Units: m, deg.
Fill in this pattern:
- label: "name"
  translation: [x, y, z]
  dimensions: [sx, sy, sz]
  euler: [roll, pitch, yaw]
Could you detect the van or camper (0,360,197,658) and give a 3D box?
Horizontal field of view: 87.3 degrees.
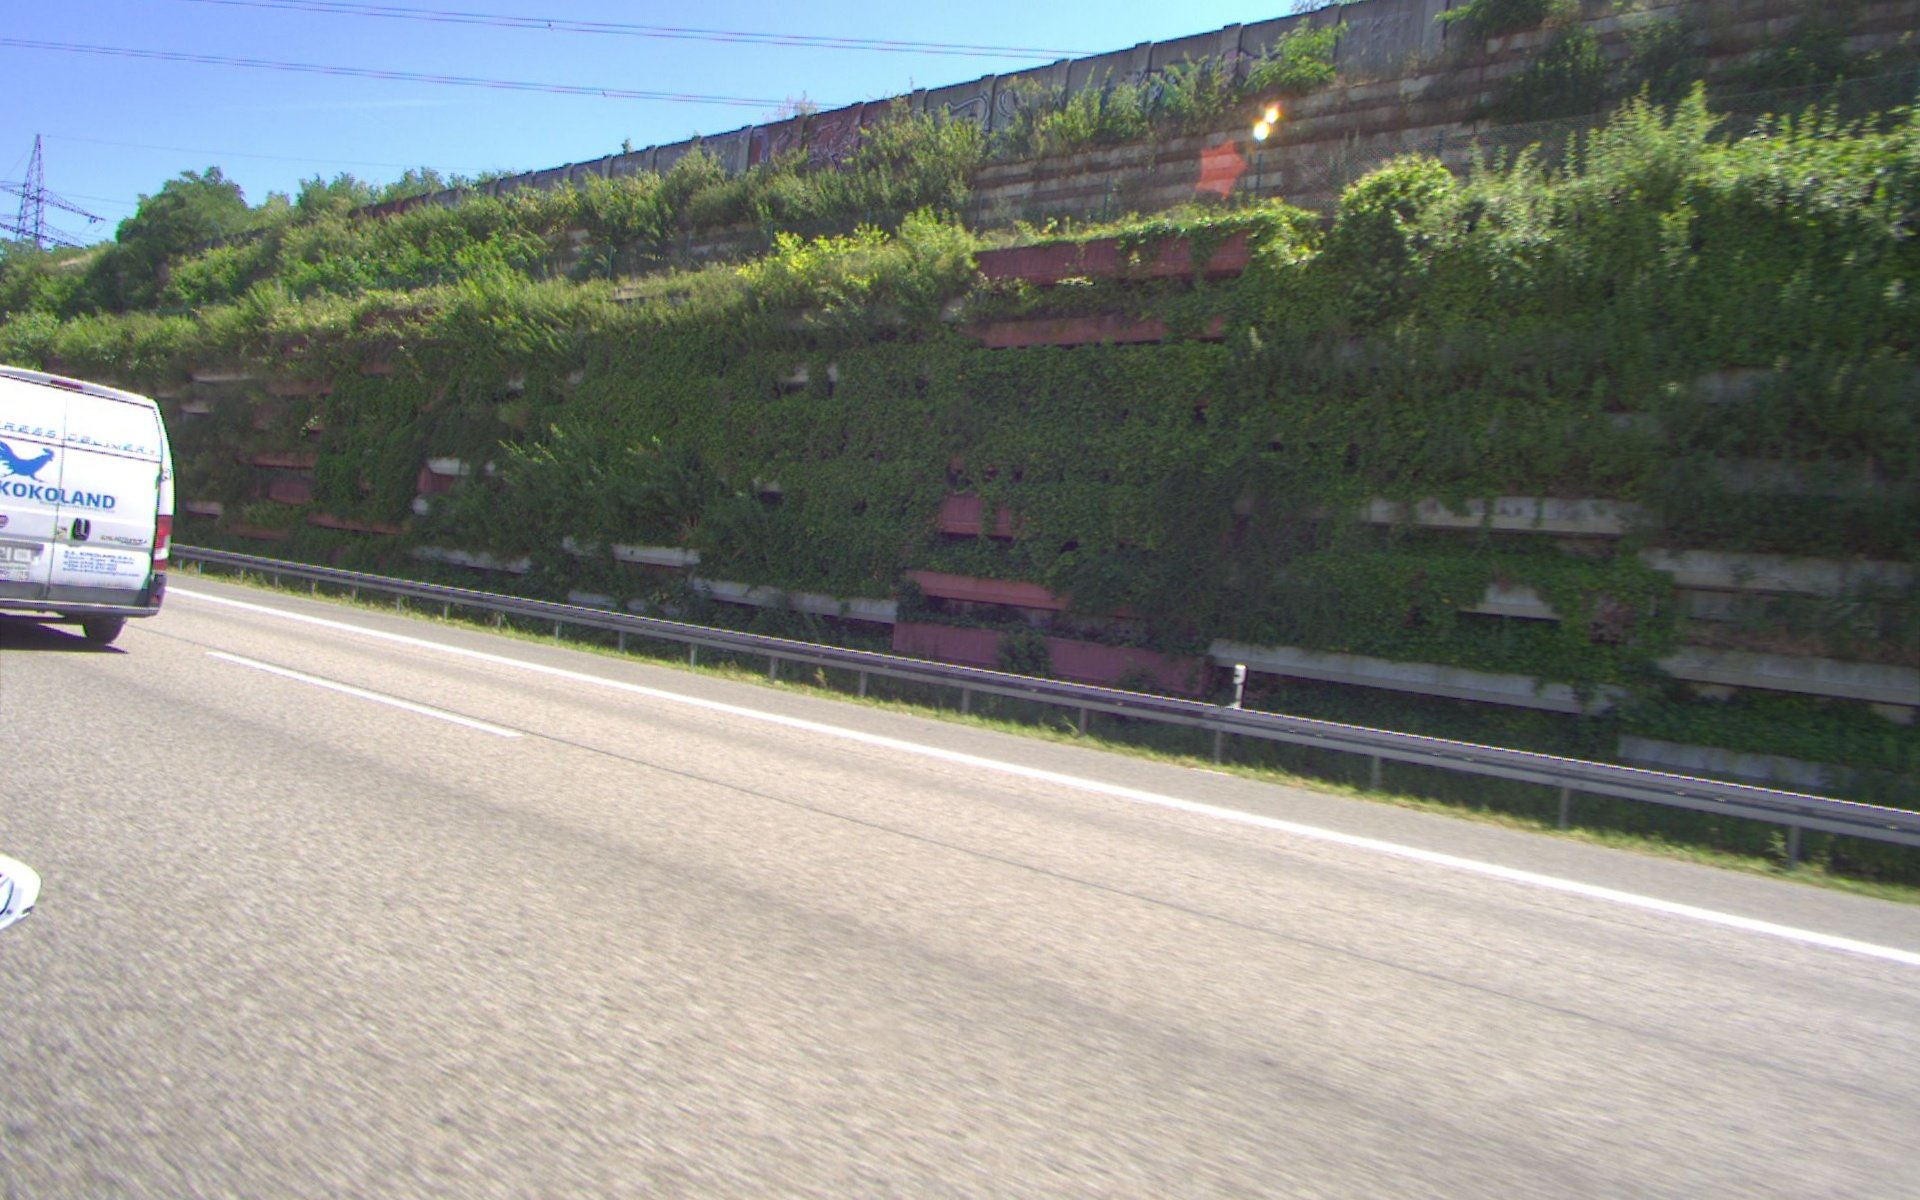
- label: "van or camper"
  translation: [-11.800, -1.161, 11.784]
  dimensions: [6.644, 2.803, 2.099]
  euler: [6, 0, 32]
